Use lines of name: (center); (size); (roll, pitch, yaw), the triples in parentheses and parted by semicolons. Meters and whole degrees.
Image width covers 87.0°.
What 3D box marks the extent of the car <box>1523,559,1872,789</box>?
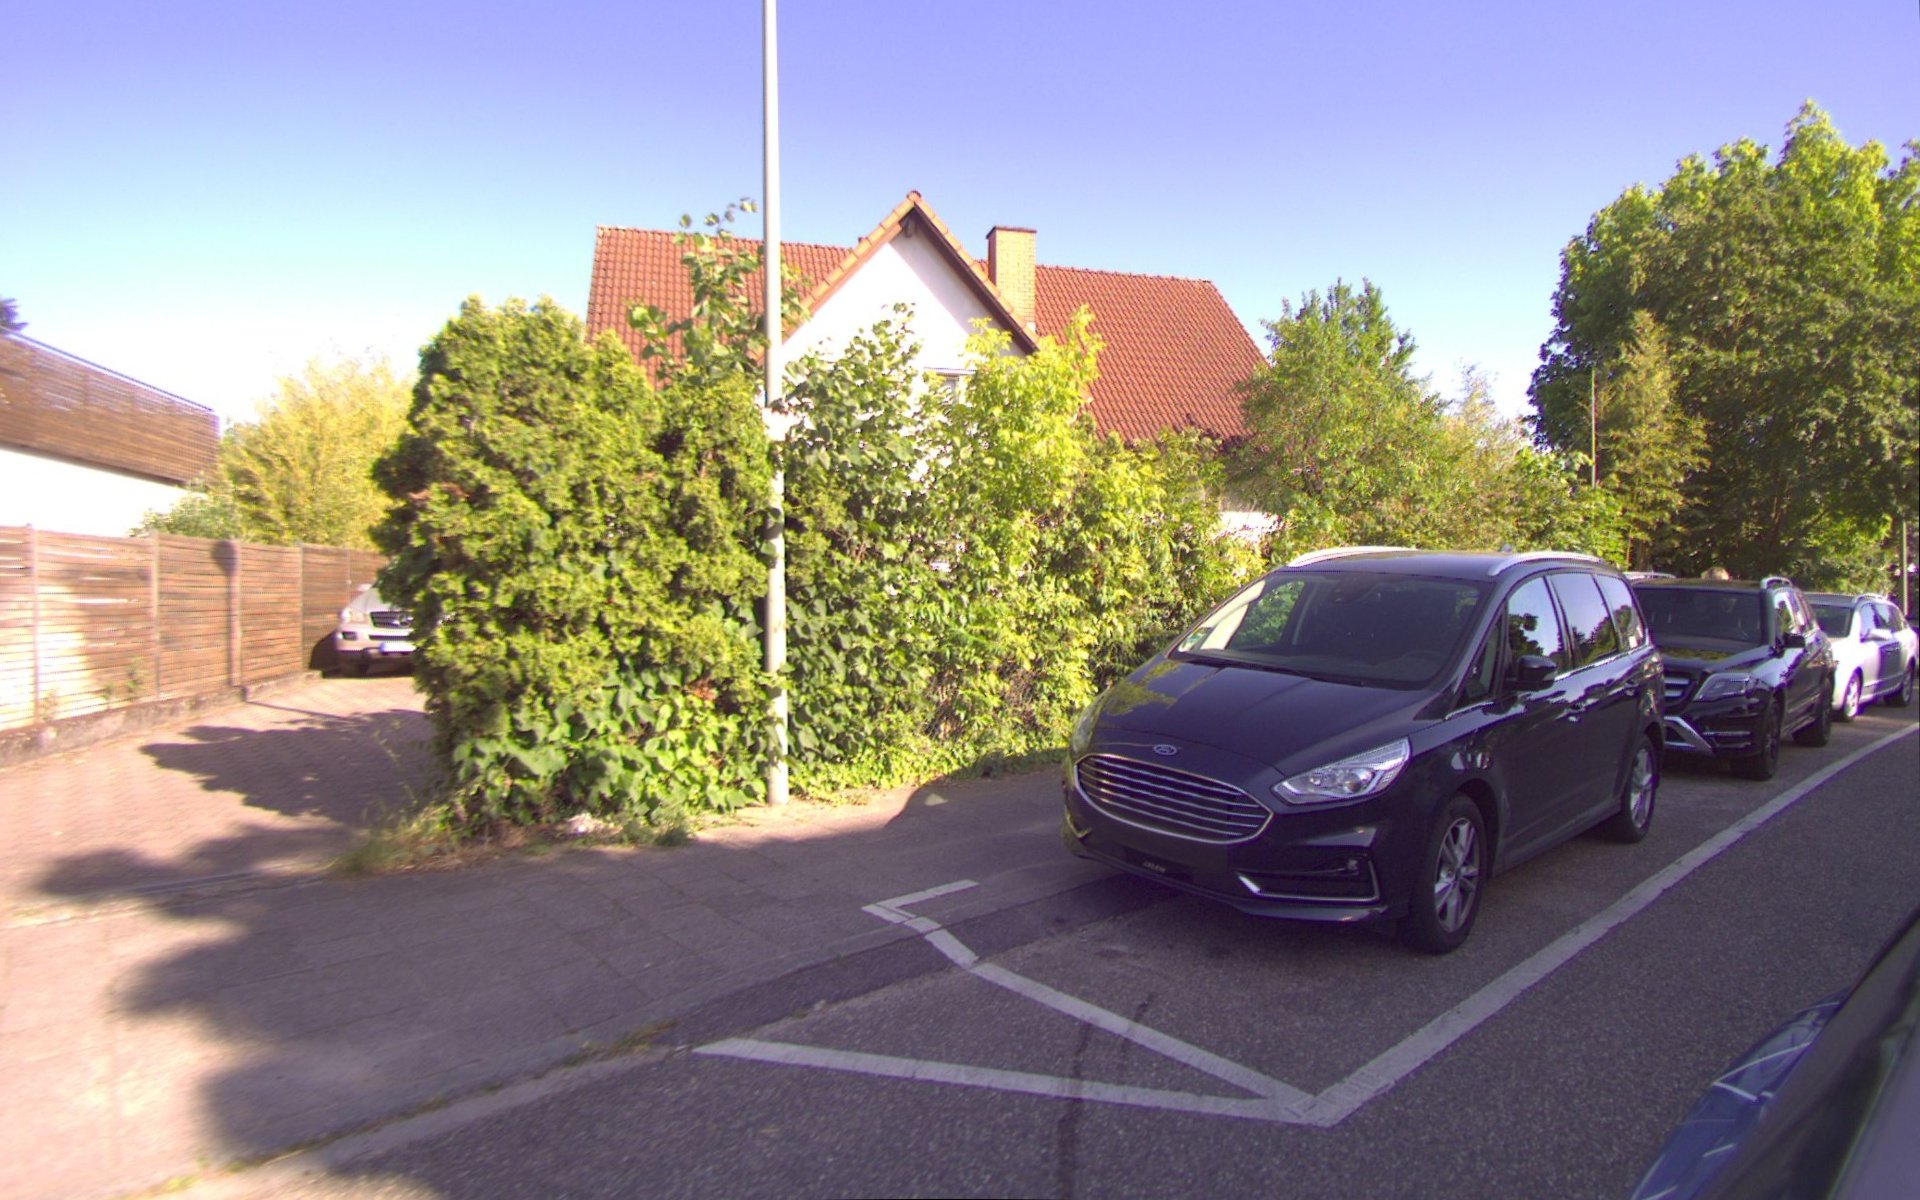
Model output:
car: (7.105, 0.520, 9.569); (4.318, 1.697, 1.766); (-1, 1, -41)

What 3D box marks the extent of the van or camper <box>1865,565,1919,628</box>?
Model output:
van or camper: (31.913, -0.109, 32.489); (1.910, 2.039, 3.861); (0, 0, -14)

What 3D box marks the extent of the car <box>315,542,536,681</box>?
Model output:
car: (-7.843, 0.103, 15.354); (1.945, 1.771, 4.479); (-1, 1, -14)

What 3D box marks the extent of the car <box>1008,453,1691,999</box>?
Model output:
car: (2.406, 0.400, 5.530); (4.354, 1.836, 1.745); (-1, 1, -43)

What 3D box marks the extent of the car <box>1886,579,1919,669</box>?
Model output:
car: (18.976, 0.416, 18.719); (4.377, 1.583, 1.660); (0, 0, -32)

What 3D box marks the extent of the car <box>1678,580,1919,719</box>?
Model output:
car: (11.525, 0.536, 13.508); (4.574, 1.583, 1.768); (0, 0, -35)
